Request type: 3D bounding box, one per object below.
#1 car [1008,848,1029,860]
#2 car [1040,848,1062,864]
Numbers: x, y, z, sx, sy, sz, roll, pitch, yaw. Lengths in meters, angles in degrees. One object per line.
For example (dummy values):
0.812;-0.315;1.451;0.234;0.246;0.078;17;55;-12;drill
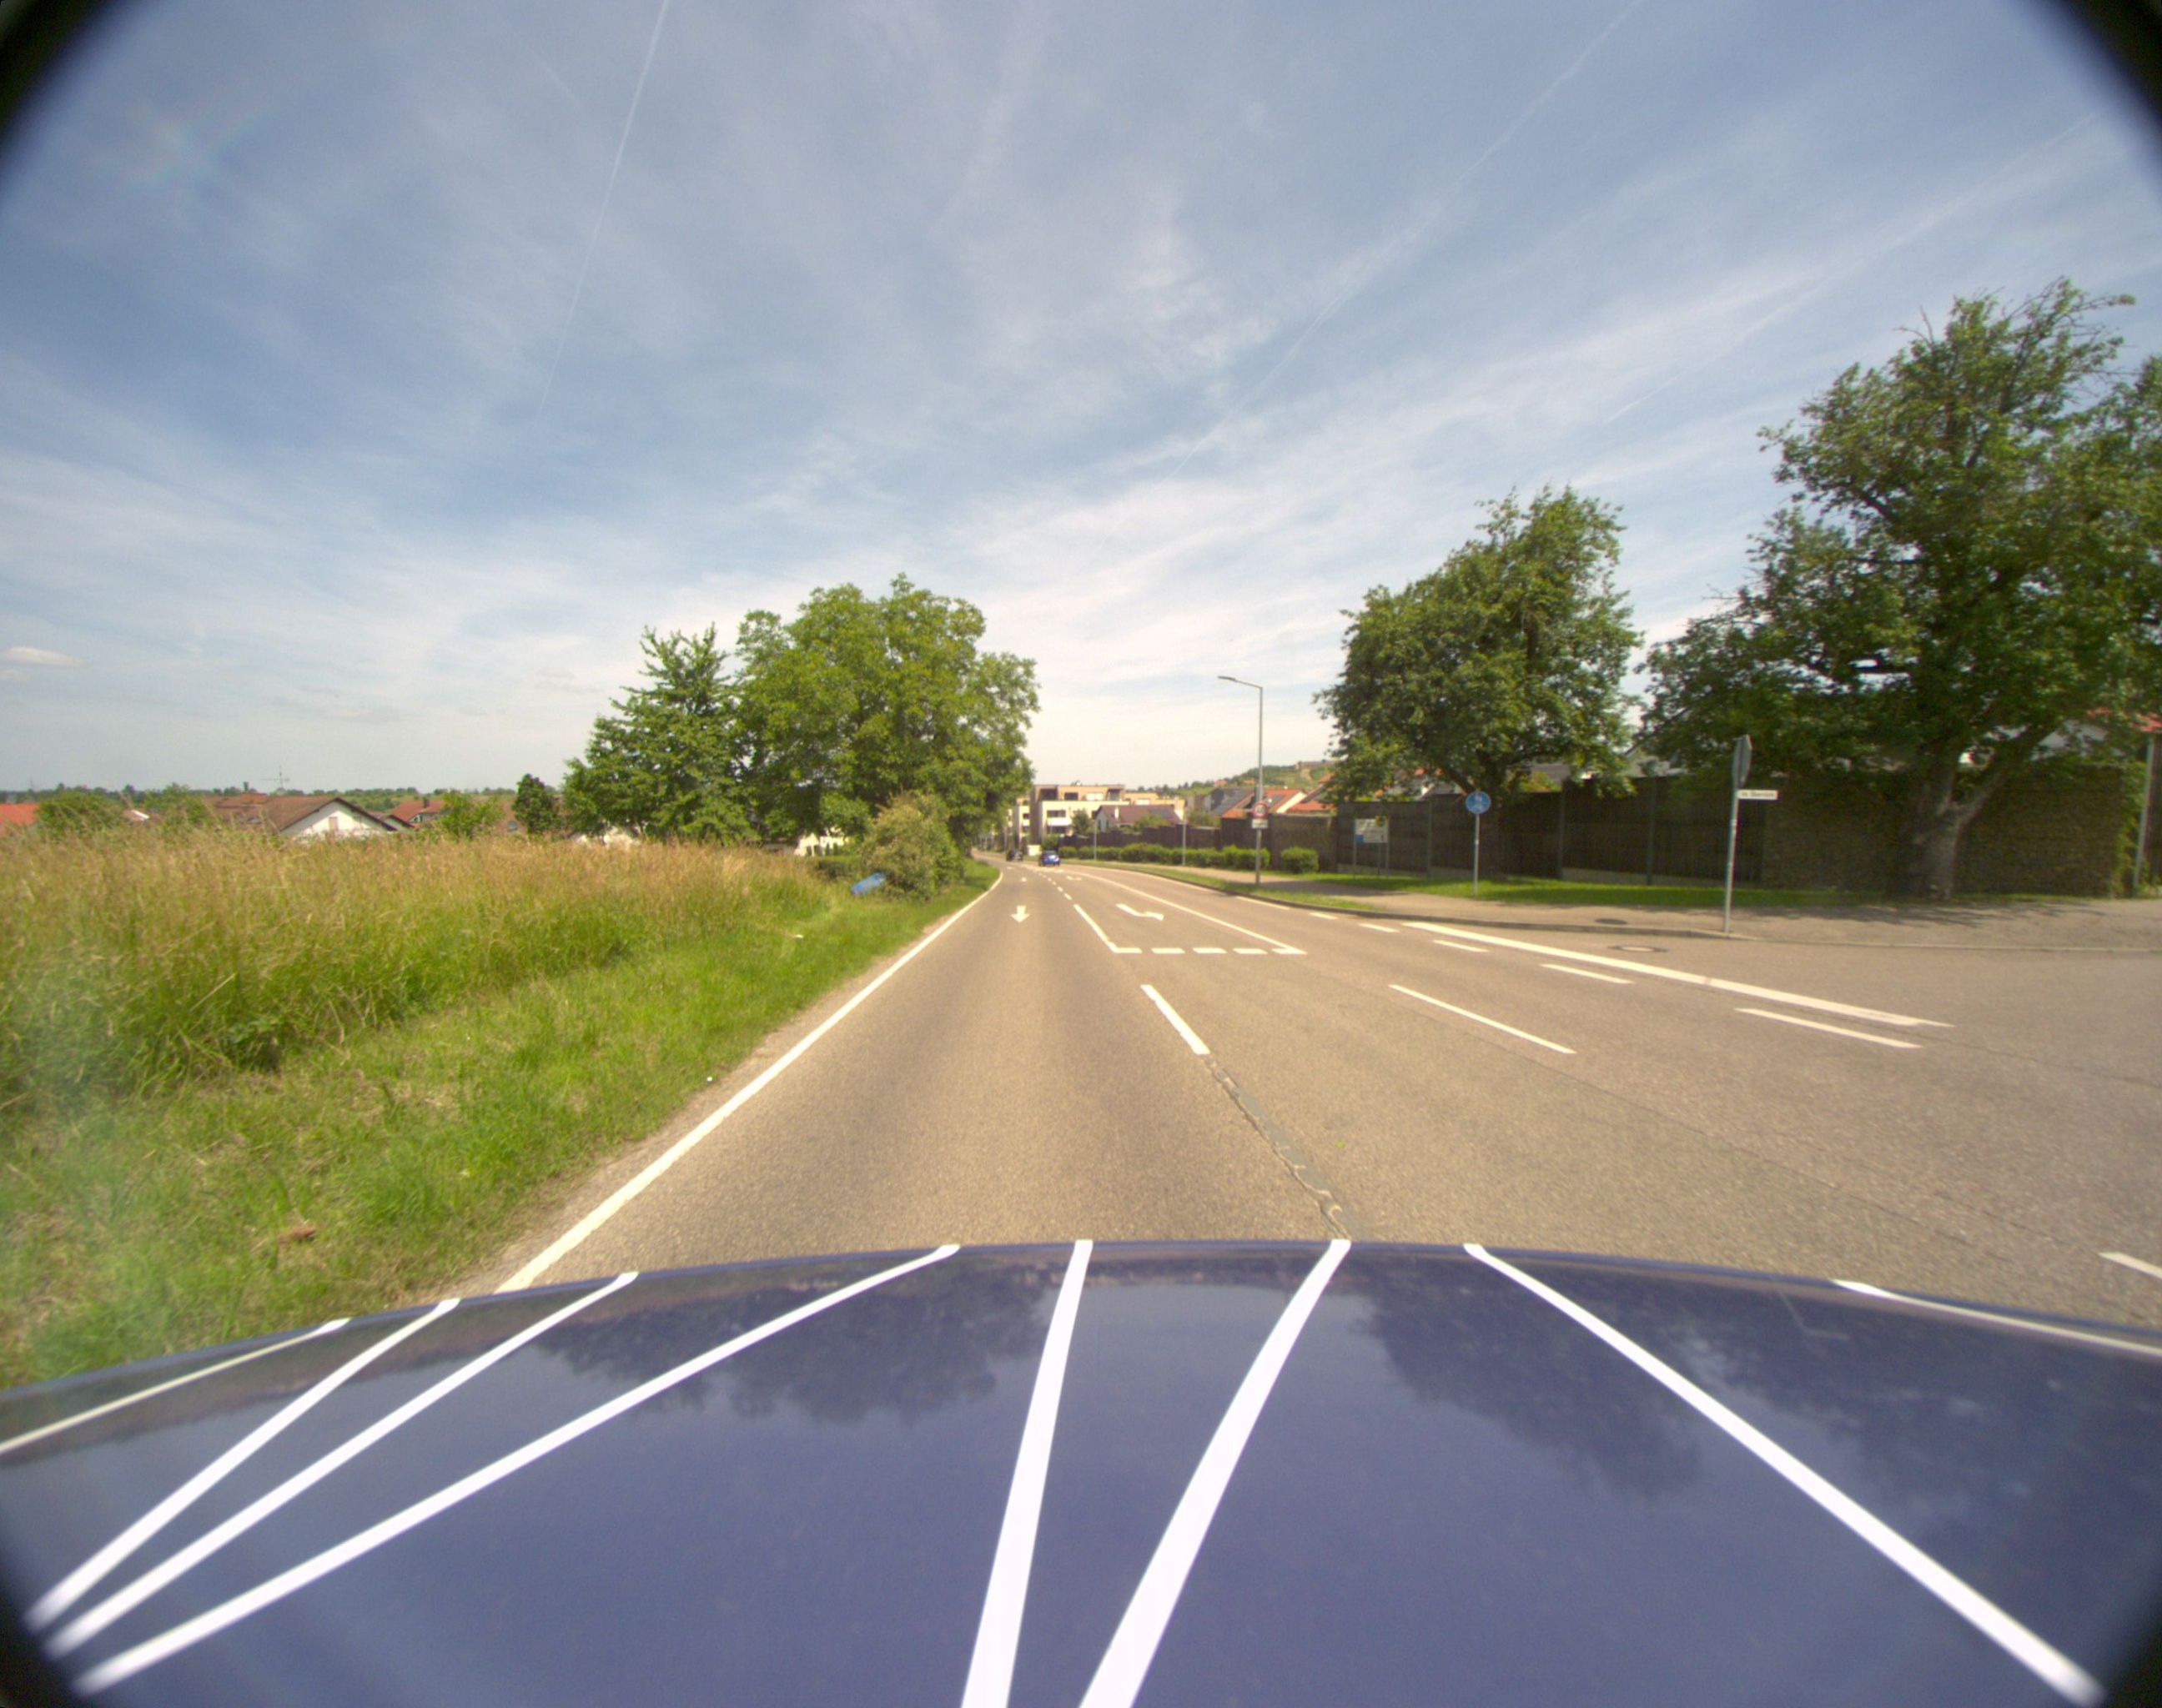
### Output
-8.520;0.031;102.917;1.832;1.572;3.993;-1;1;-20;car
-3.046;0.183;75.878;1.614;1.483;3.844;0;0;-12;car
